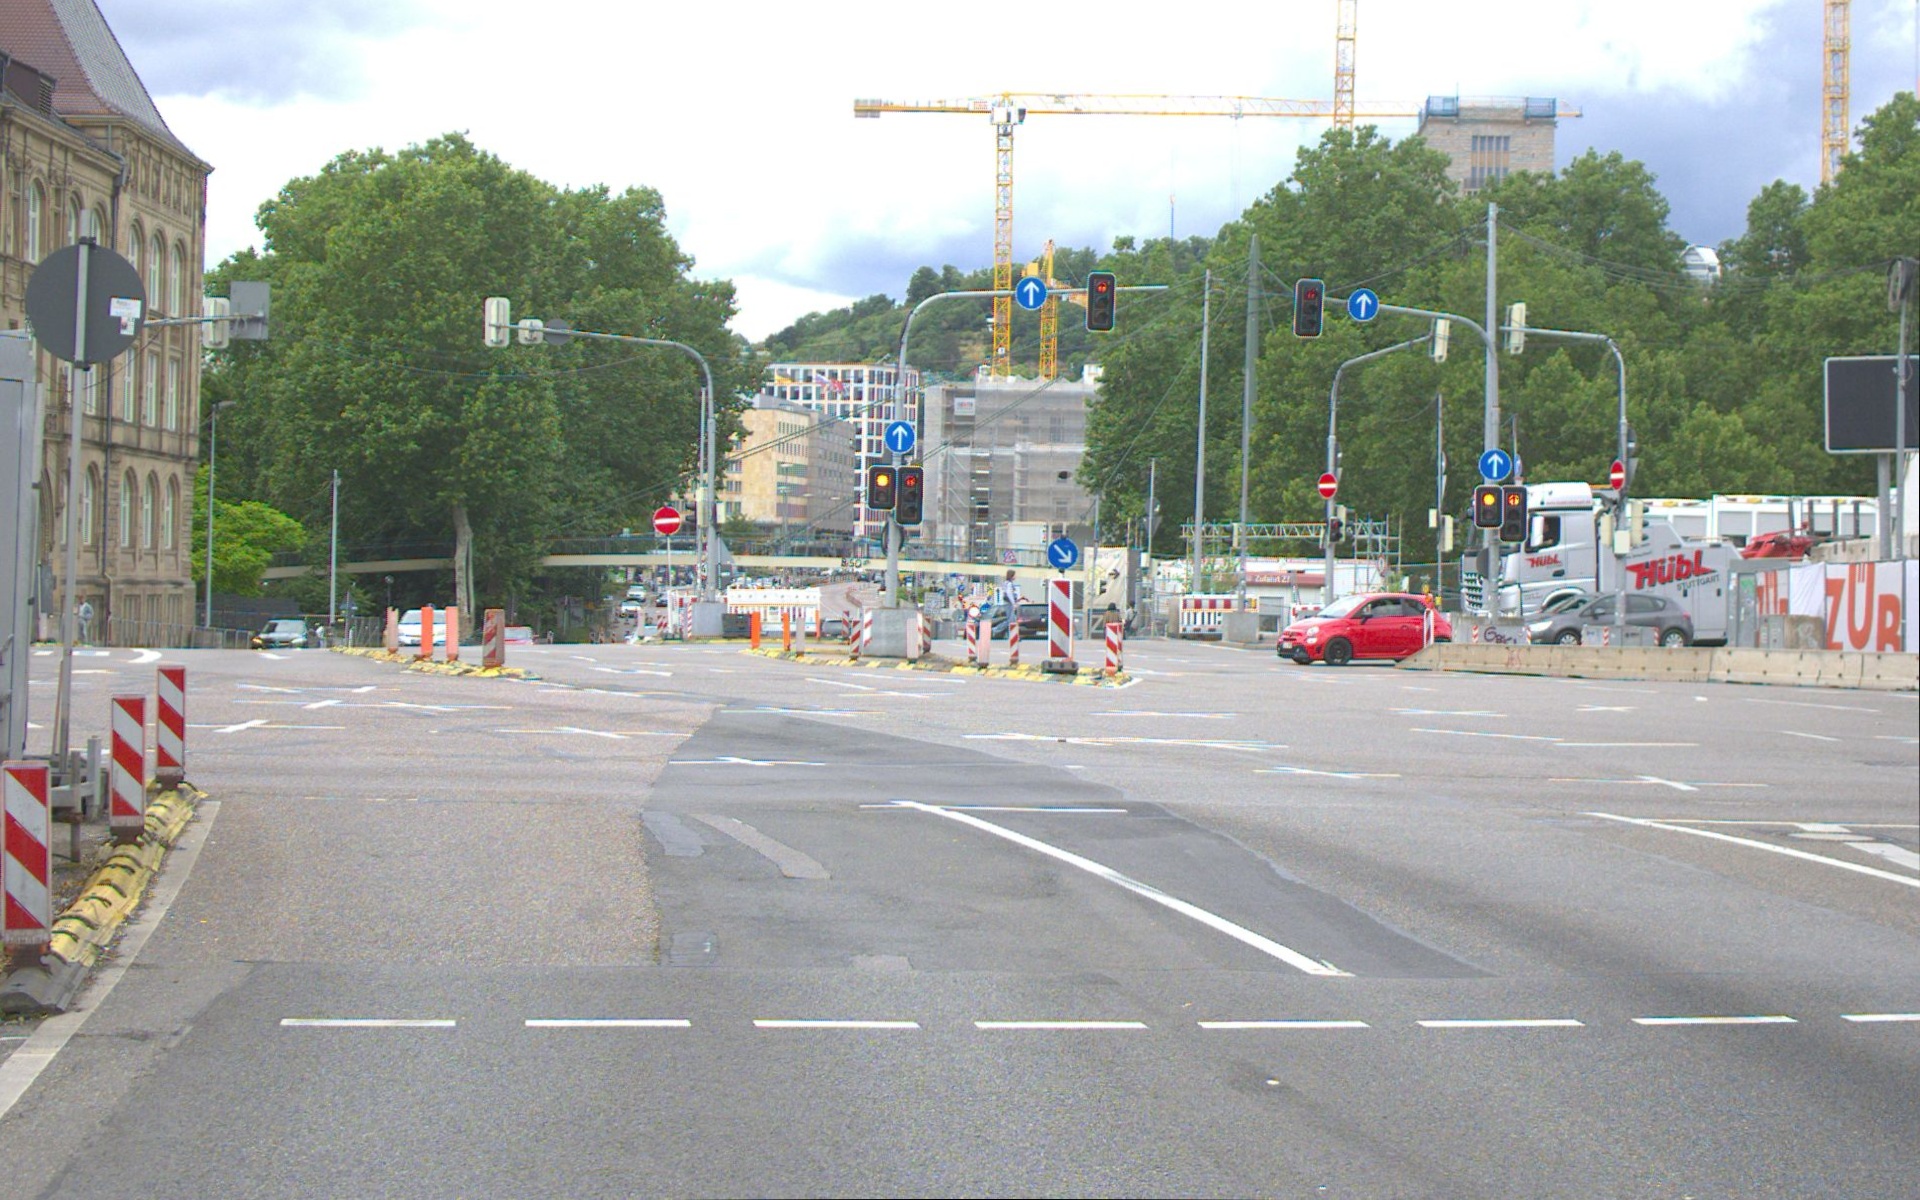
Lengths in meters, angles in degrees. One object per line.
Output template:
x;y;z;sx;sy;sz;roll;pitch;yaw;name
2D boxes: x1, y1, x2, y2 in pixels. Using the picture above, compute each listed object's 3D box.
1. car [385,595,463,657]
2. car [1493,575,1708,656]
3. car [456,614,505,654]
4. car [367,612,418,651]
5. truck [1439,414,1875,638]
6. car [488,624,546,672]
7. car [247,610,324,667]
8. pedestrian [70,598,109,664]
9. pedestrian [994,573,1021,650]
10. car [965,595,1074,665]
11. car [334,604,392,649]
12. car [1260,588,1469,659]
-16.603;0.779;106.643;1.993;1.831;4.001;1;1;-3;car
13.958;0.328;74.951;4.164;1.695;1.967;1;1;-19;car
-23.121;1.649;165.897;1.993;1.831;4.001;1;1;-3;car
-28.084;1.569;170.226;1.993;1.831;4.001;1;1;-3;car
16.188;-1.656;79.751;9.712;4.943;3.114;1;0;-21;truck
-17.950;1.942;139.445;1.993;1.831;4.001;1;1;-3;car
-22.794;1.285;116.257;1.993;1.831;4.001;1;1;-3;car
-26.453;0.938;104.501;0.950;2.007;0.766;1;0;2;pedestrian
1.138;0.265;82.104;0.585;1.834;0.604;1;0;-4;pedestrian
1.746;0.888;102.839;1.993;2.007;4.001;1;1;-19;car
-25.679;1.126;147.903;1.993;1.831;4.001;1;1;-3;car
8.192;0.483;69.671;3.806;1.381;1.805;1;1;-22;car
